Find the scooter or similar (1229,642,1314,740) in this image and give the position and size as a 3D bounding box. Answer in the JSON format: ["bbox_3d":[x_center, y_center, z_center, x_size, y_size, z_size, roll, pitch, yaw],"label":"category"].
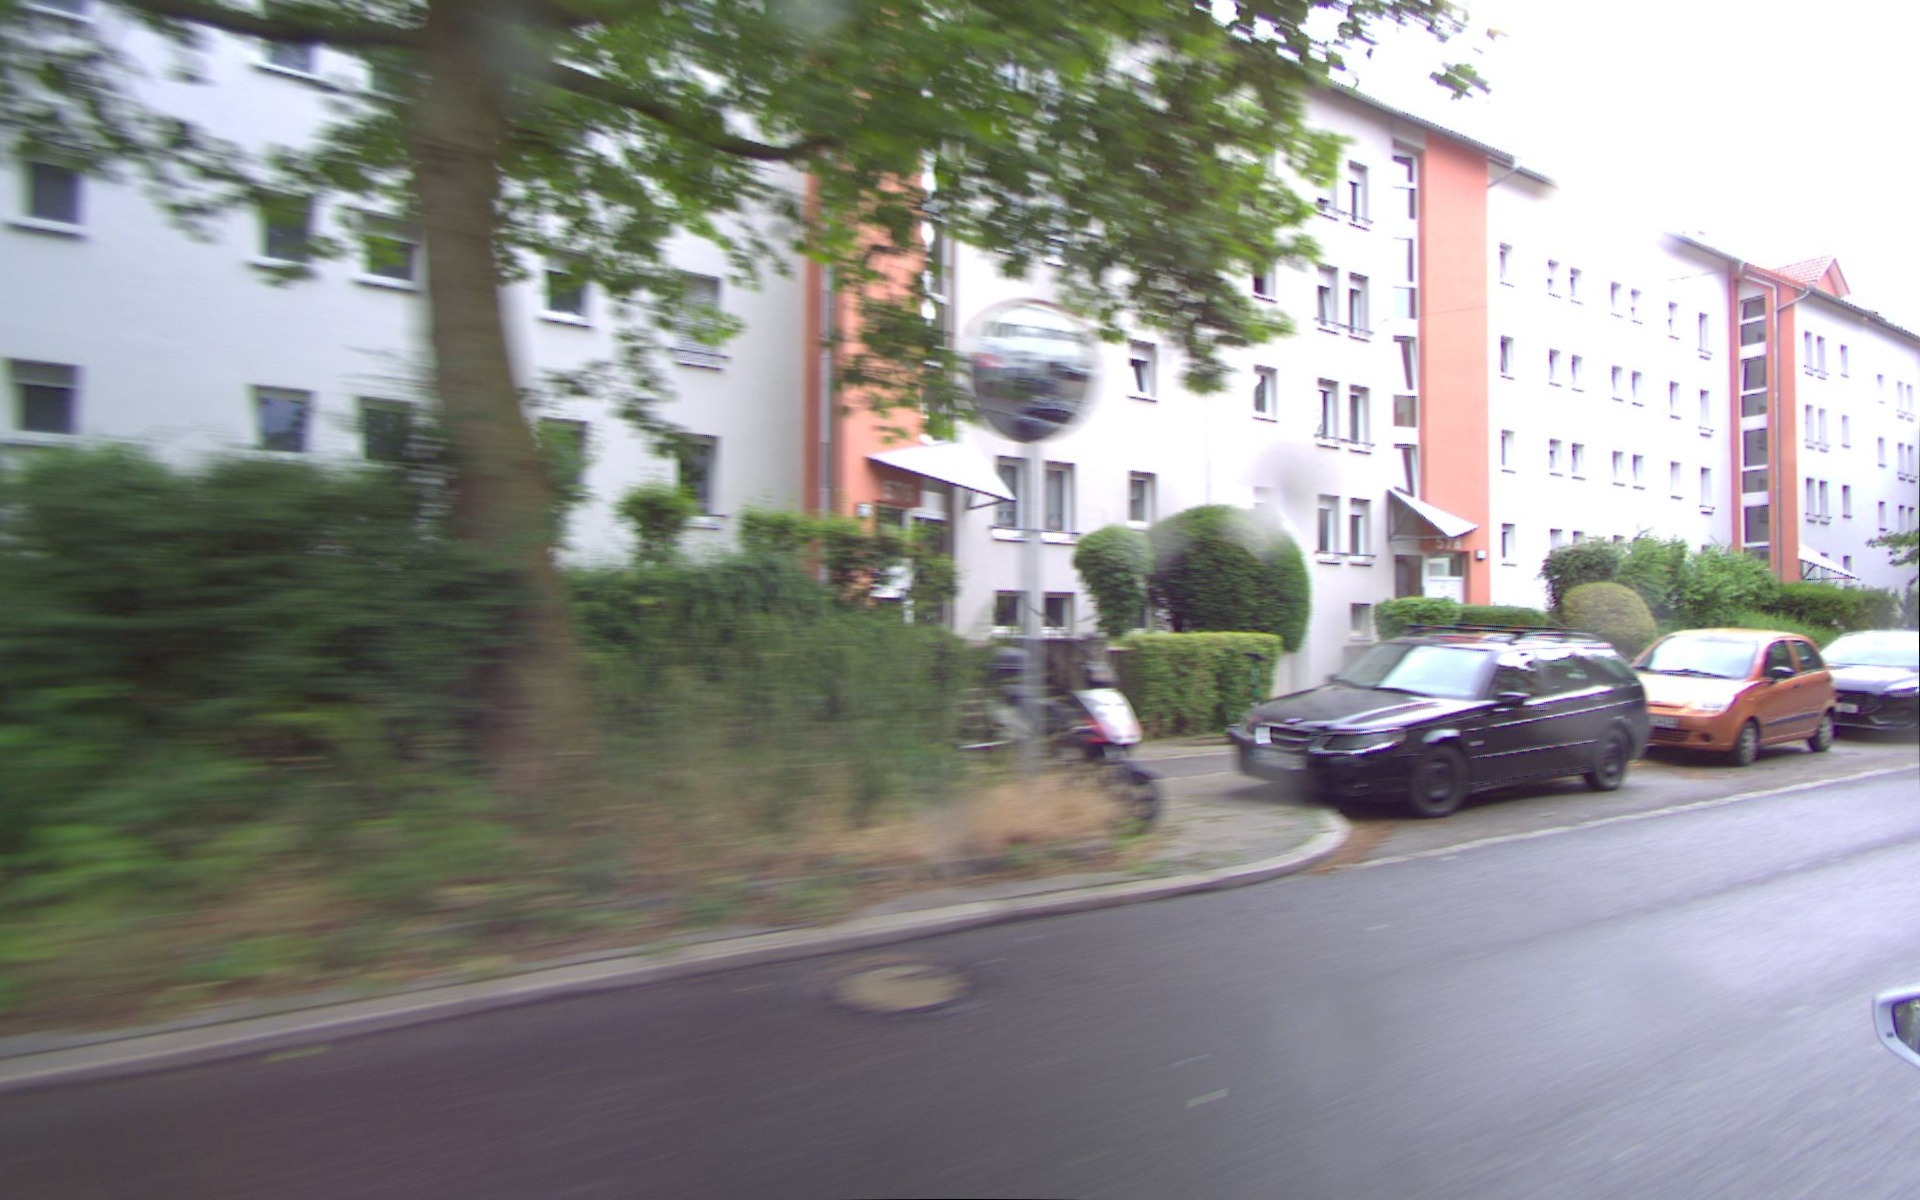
[{"bbox_3d":[4.645,1.326,14.980,1.018,1.386,0.773,1,-2,-36],"label":"scooter or similar"}]

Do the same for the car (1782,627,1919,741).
[{"bbox_3d":[14.019,1.165,14.924,3.714,1.487,1.707,1,-1,-32],"label":"car"}]

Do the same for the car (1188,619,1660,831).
[{"bbox_3d":[4.437,0.964,9.323,4.751,1.529,1.707,1,-1,-33],"label":"car"}]

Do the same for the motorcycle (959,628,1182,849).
[{"bbox_3d":[0.719,0.895,7.125,0.713,1.358,1.705,1,-3,-30],"label":"motorcycle"}]

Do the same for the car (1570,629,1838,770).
[{"bbox_3d":[9.166,1.113,12.331,3.359,1.487,1.547,1,-1,-32],"label":"car"}]
